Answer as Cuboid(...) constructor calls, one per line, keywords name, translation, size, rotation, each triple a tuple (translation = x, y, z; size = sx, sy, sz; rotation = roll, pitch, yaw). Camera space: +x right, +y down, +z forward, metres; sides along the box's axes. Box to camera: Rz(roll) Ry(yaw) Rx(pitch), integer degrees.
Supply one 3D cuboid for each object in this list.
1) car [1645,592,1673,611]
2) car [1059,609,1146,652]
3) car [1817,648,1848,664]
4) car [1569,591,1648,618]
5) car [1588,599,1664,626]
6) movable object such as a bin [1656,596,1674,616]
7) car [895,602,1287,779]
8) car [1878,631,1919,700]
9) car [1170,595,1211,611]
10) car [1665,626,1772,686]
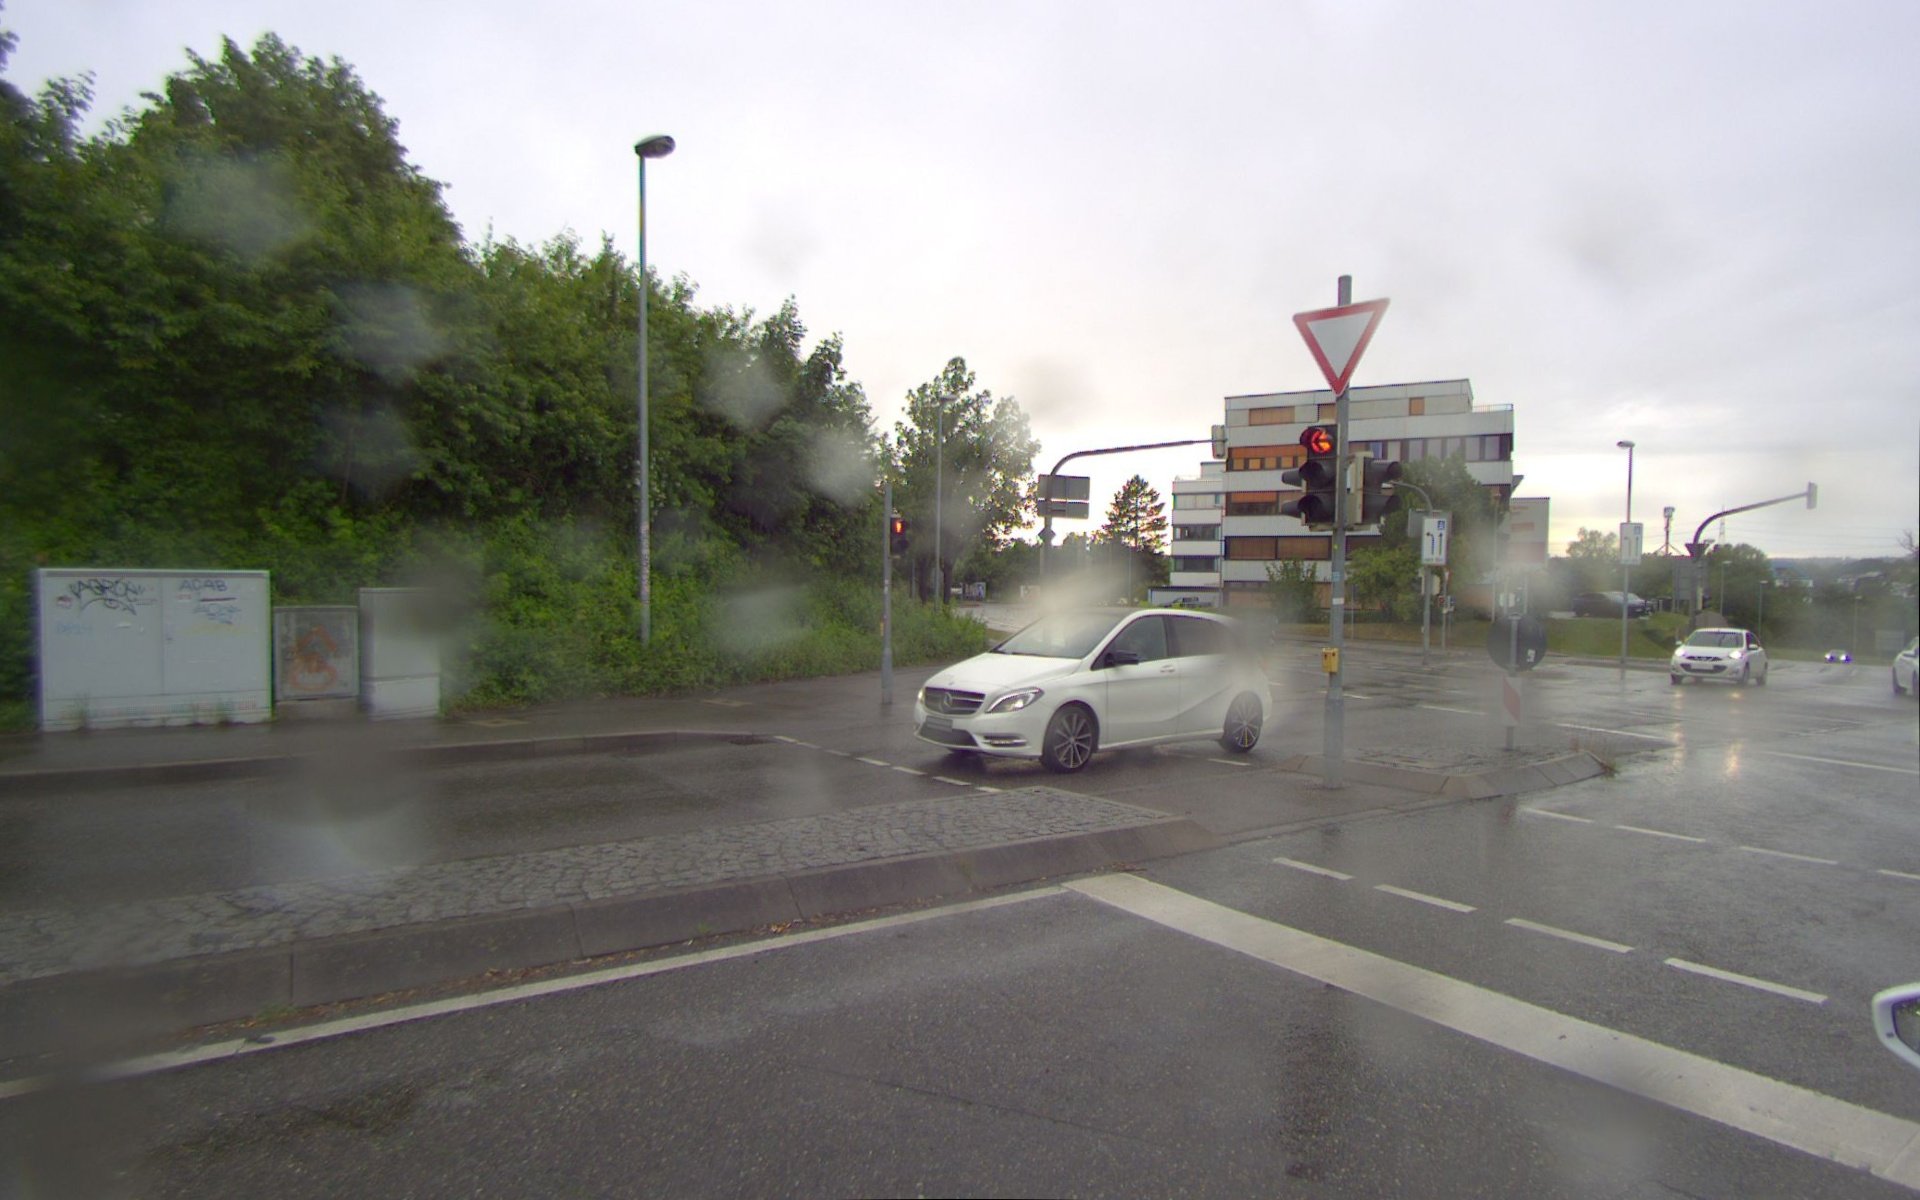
Cuboid(name="car", translation=(60.552, 0.151, 87.057), size=(1.802, 1.461, 3.990), rotation=(3, -1, 33))
Cuboid(name="car", translation=(5.092, 1.071, 36.516), size=(1.731, 1.381, 4.523), rotation=(2, 0, -11))
Cuboid(name="car", translation=(92.055, 5.916, 105.983), size=(3.963, 1.514, 1.649), rotation=(2, -1, -37))
Cuboid(name="car", translation=(42.432, 0.294, 65.798), size=(1.874, 1.607, 3.981), rotation=(4, 0, -21))
Cuboid(name="car", translation=(44.740, 0.843, 67.576), size=(1.872, 1.607, 3.985), rotation=(4, 0, -17))
Cuboid(name="movable object such as a bin", translation=(55.721, 0.488, 79.377), size=(1.069, 1.456, 1.443), rotation=(3, 0, 34))
Cuboid(name="car", translation=(1.536, 0.855, 10.701), size=(4.285, 1.524, 1.651), rotation=(2, -2, -39))
Cuboid(name="car", translation=(23.247, 1.537, 23.586), size=(1.839, 1.528, 3.970), rotation=(2, 0, 33))
Cuboid(name="car", translation=(22.134, 0.301, 96.353), size=(3.686, 1.418, 2.000), rotation=(1, 1, 19))
Cuboid(name="car", translation=(21.124, 1.495, 27.929), size=(3.791, 1.525, 1.607), rotation=(1, -1, -40))
